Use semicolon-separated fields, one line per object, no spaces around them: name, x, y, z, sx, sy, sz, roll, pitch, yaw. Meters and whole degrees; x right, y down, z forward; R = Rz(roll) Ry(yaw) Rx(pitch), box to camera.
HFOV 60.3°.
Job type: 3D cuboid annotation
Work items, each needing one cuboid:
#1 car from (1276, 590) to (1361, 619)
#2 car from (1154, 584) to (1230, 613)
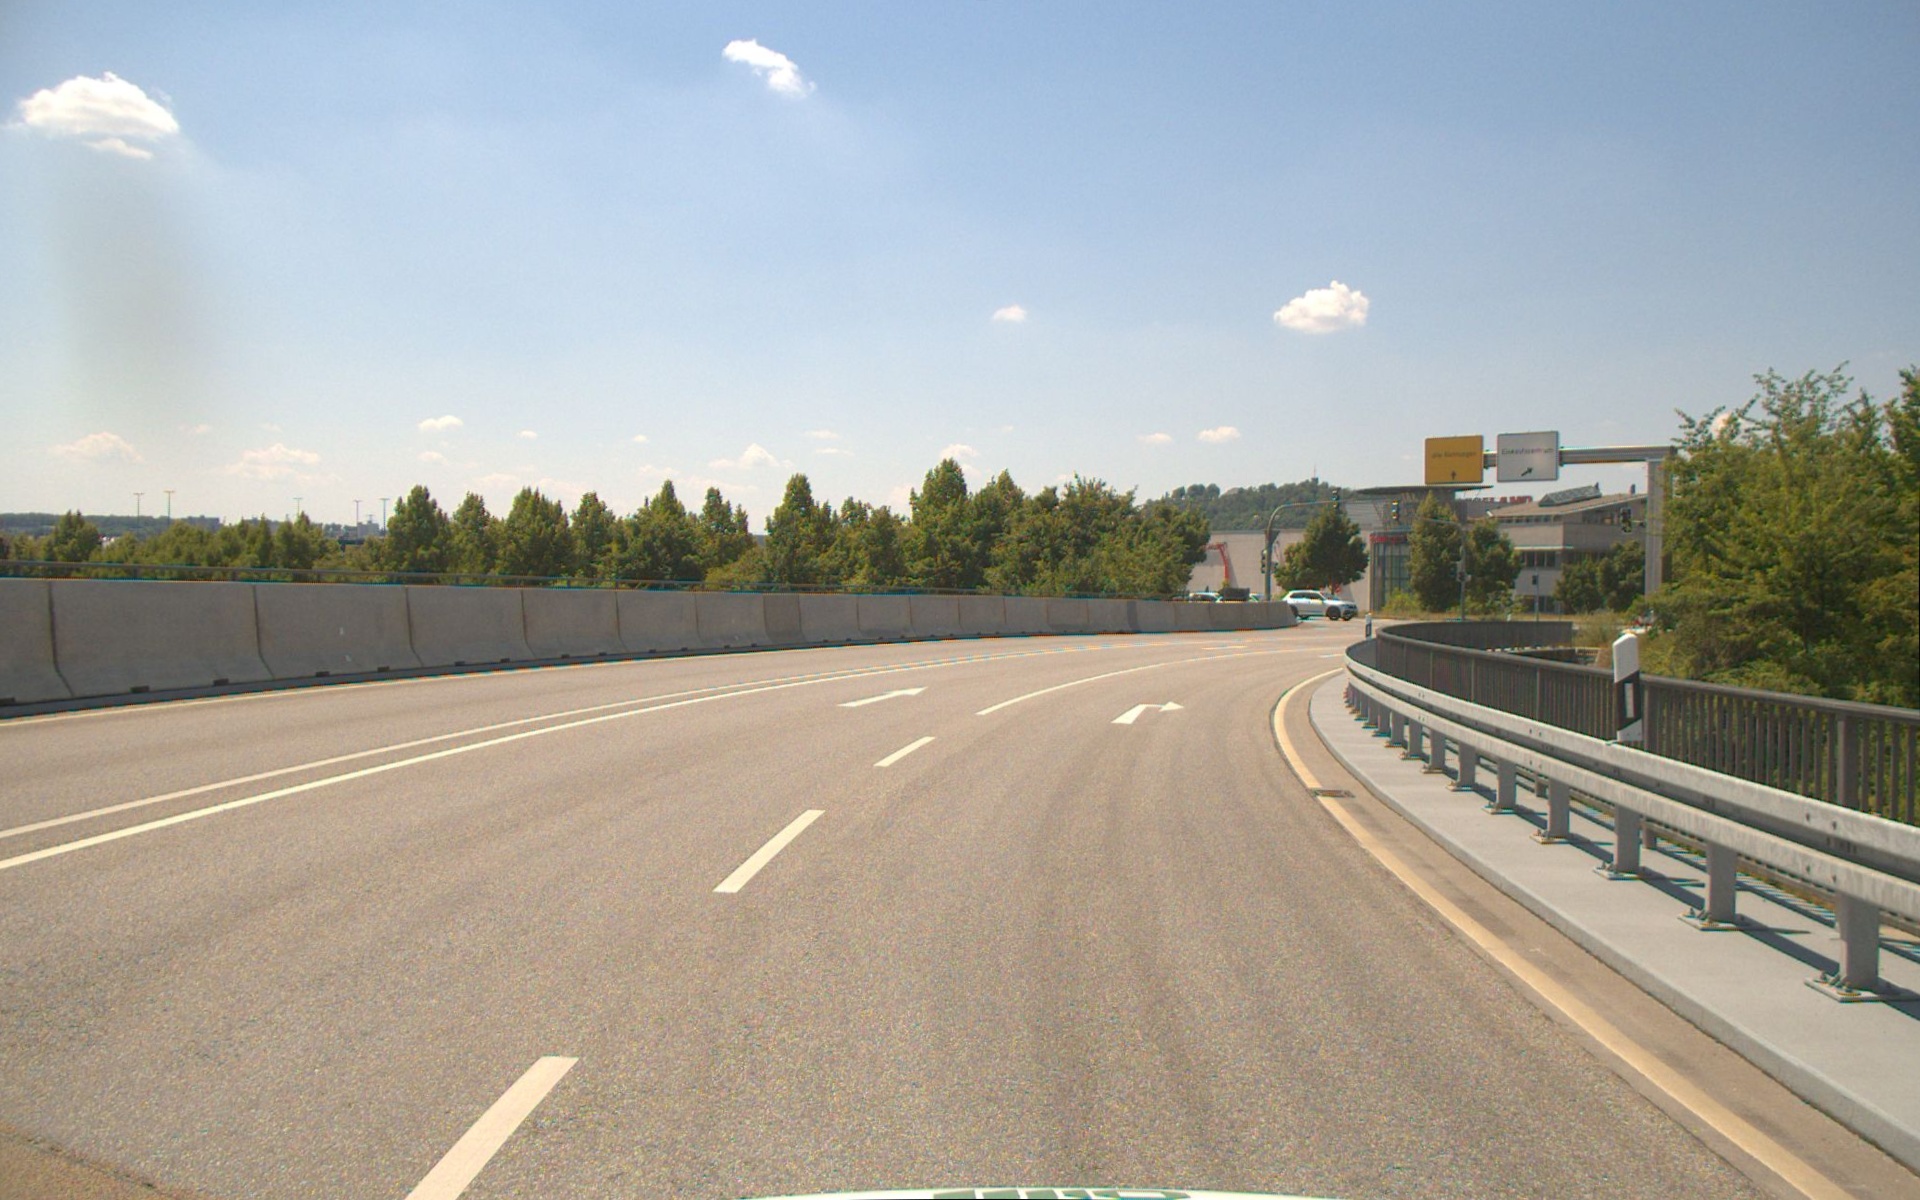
car;20.292;0.244;93.750;4.316;1.532;1.989;1;-1;41
car;13.920;-0.119;99.487;4.060;1.512;1.989;4;2;40
